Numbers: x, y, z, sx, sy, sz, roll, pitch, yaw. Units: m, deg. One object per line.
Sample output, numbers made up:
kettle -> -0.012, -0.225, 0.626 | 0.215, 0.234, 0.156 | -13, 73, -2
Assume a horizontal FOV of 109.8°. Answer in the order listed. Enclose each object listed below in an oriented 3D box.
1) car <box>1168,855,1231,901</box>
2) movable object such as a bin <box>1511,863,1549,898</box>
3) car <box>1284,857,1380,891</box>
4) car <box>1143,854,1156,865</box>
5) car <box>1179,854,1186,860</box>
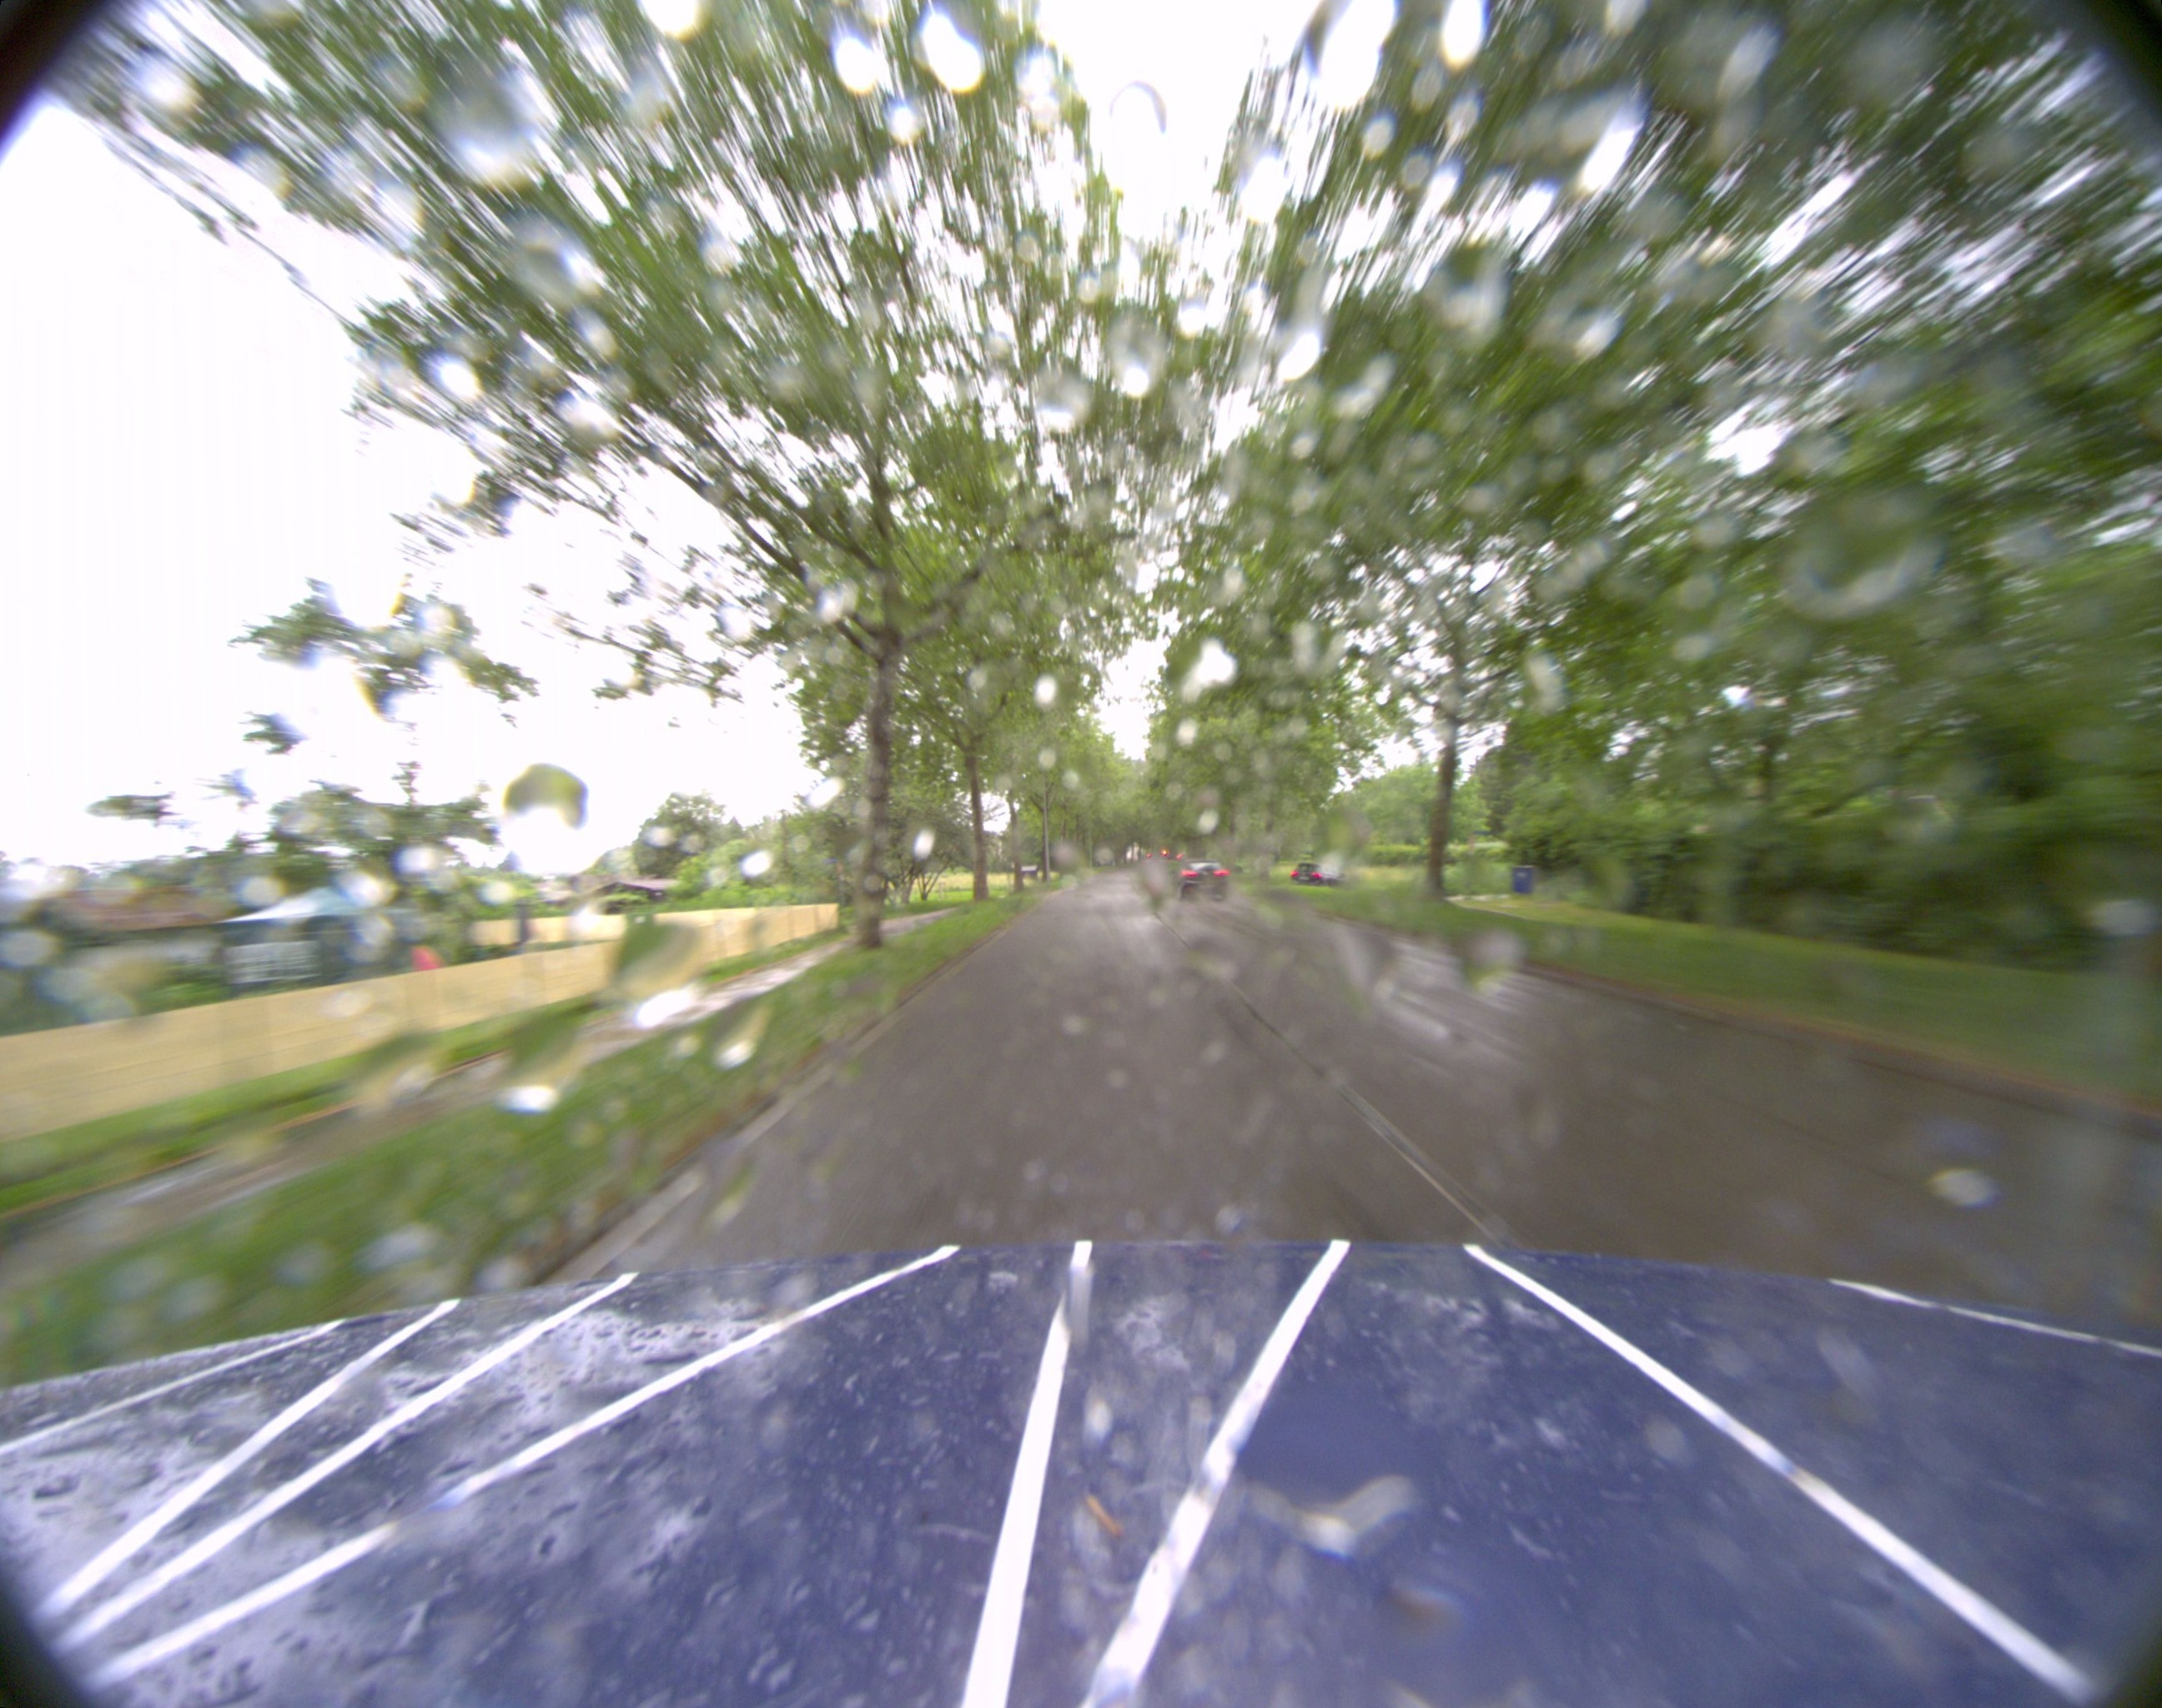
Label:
car -> 4.276, 0.841, 27.960 | 1.711, 1.477, 3.881 | -3, 0, 1
movable object such as a bin -> 18.730, 1.094, 31.708 | 0.965, 1.414, 0.966 | -3, 0, 1
car -> 12.703, 1.038, 38.528 | 4.310, 1.578, 1.736 | 2, -3, -8
car -> 9.827, 0.774, 109.039 | 1.735, 1.415, 4.226 | -1, 0, 2
car -> 31.980, 0.858, 239.177 | 1.866, 1.739, 5.018 | -1, 0, 6
